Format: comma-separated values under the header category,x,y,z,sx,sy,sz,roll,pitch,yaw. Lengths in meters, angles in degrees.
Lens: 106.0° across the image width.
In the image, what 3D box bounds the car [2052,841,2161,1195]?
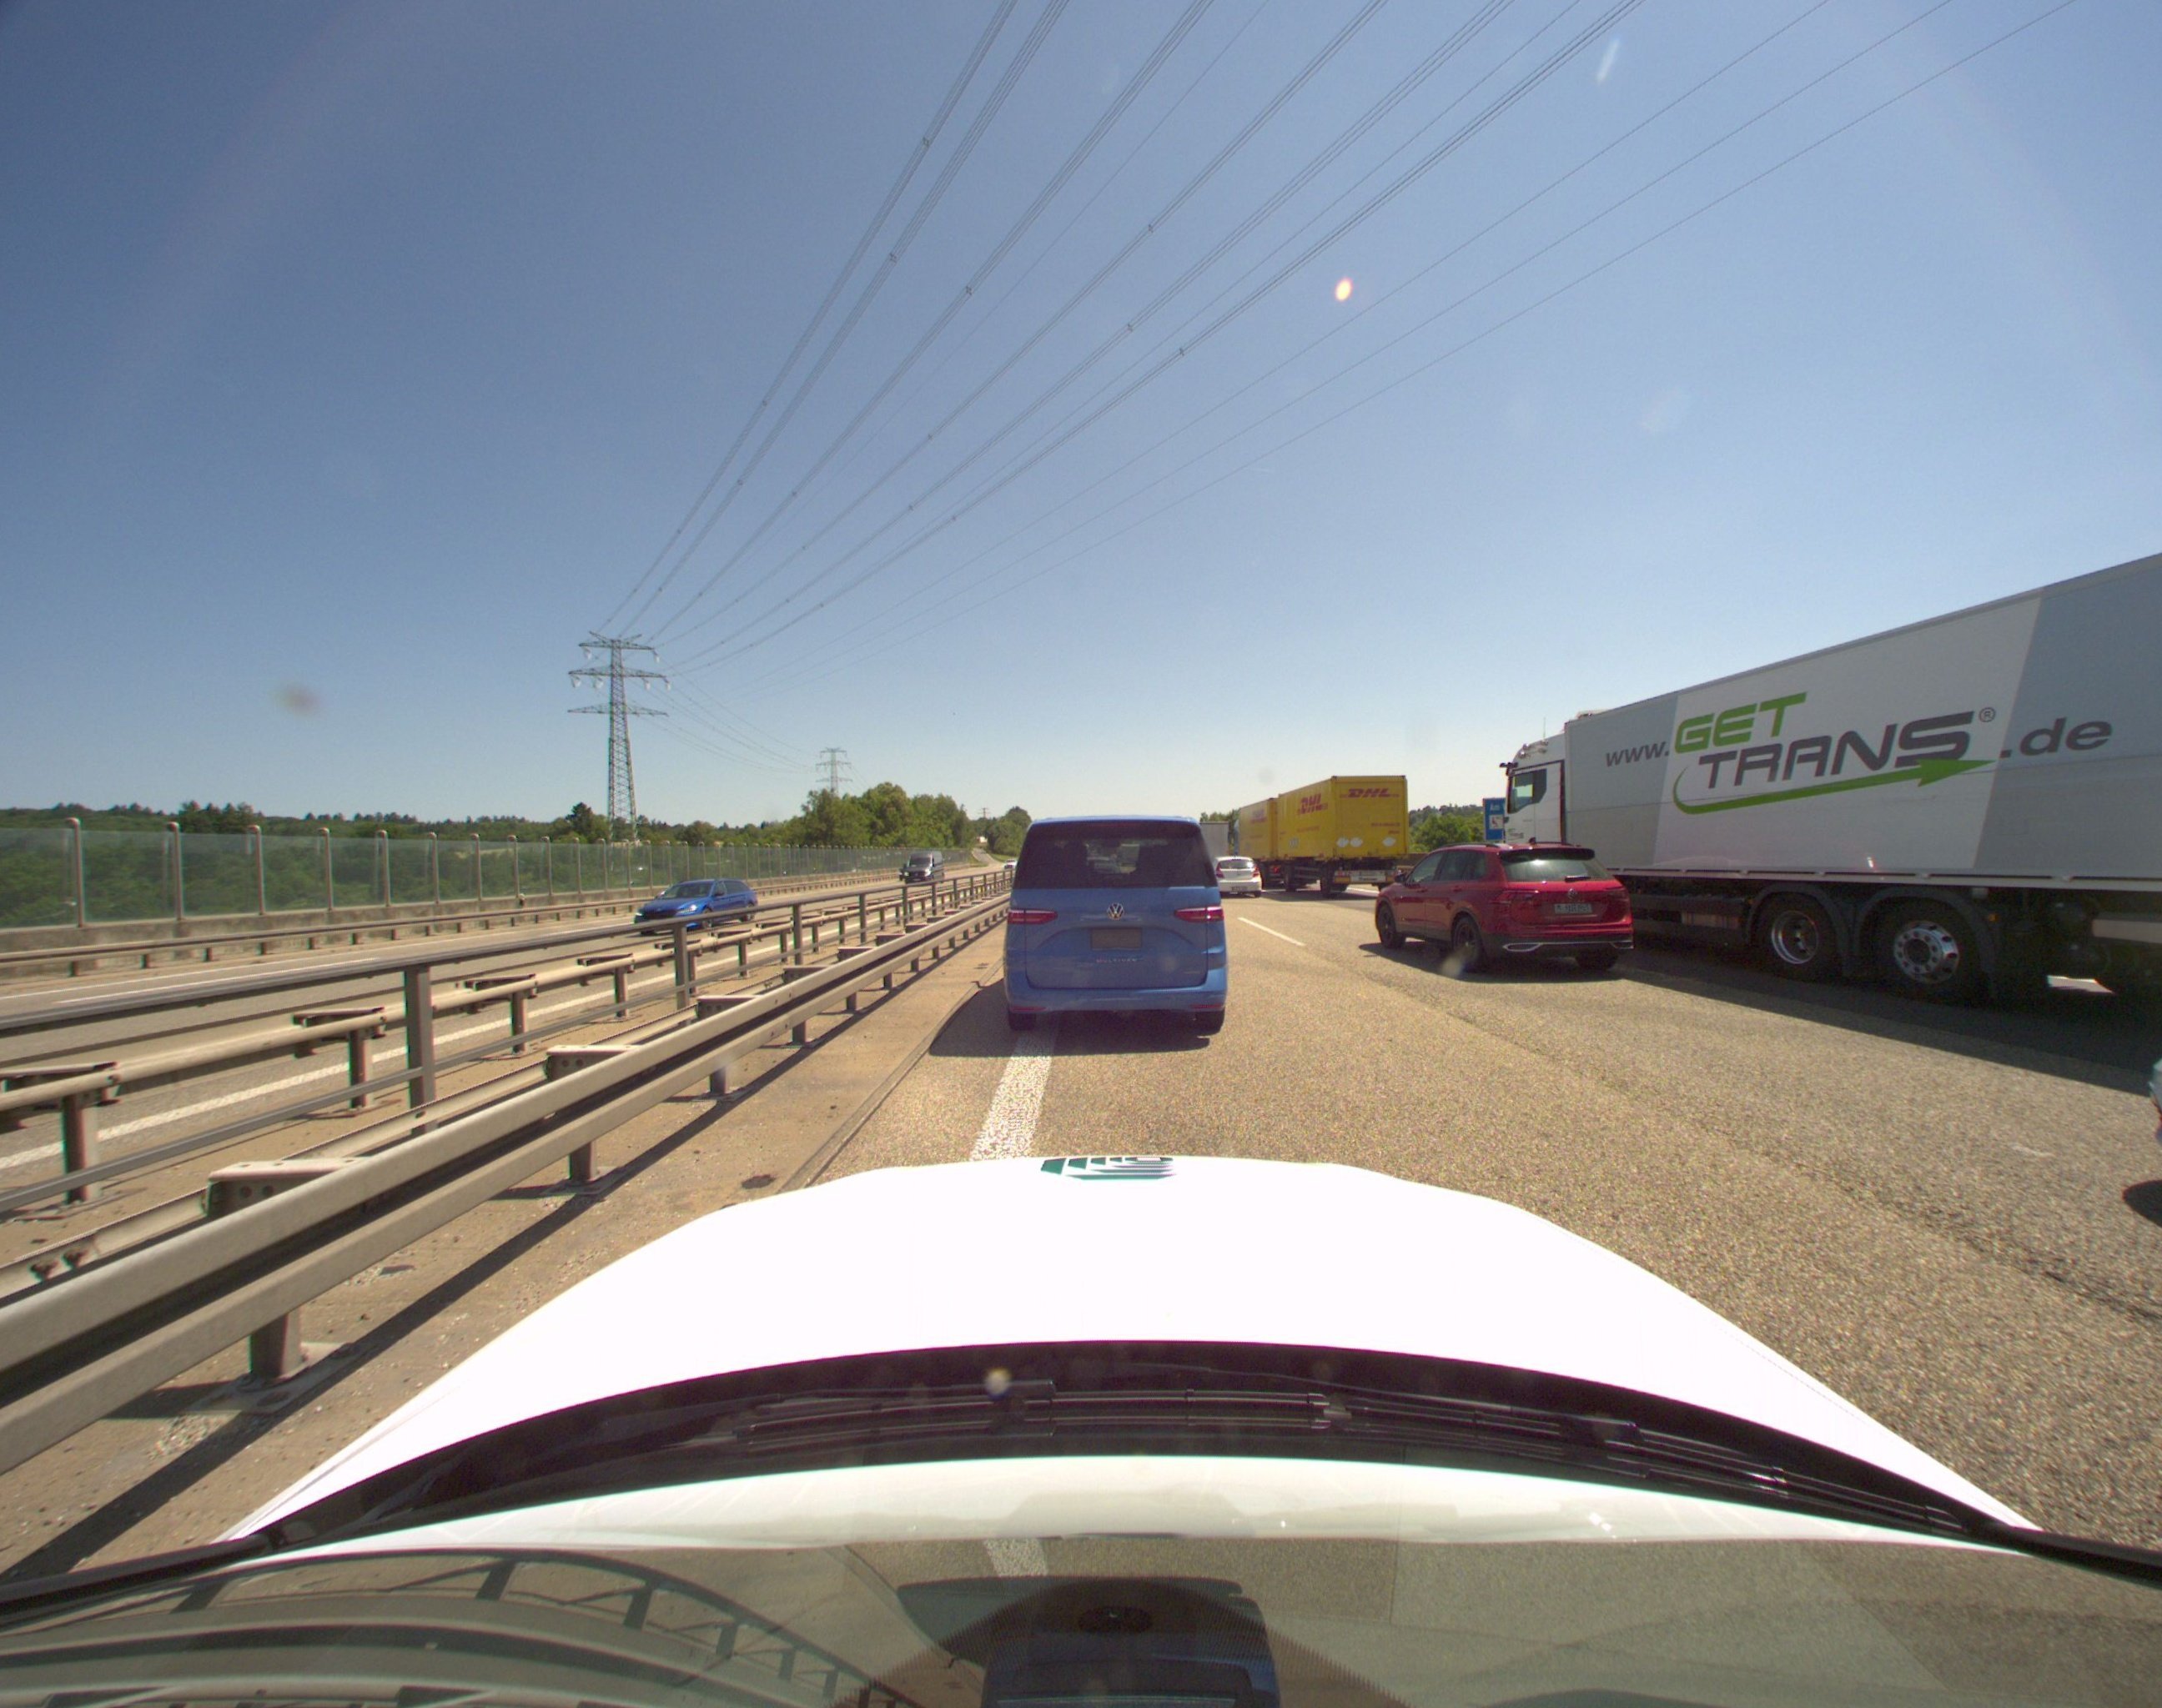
category,x,y,z,sx,sy,sz,roll,pitch,yaw
car,5.250,0.671,1.497,1.702,1.451,4.429,0,0,1

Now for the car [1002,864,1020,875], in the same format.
category,x,y,z,sx,sy,sz,roll,pitch,yaw
car,-10.467,2.309,122.045,1.986,1.544,4.387,-3,-1,2

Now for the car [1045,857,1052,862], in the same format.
category,x,y,z,sx,sy,sz,roll,pitch,yaw
car,-9.933,1.655,248.897,1.681,1.303,4.017,-4,-1,4

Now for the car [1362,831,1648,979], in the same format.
category,x,y,z,sx,sy,sz,roll,pitch,yaw
car,5.611,0.611,11.491,1.704,1.679,4.282,0,-1,-2

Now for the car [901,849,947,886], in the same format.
category,x,y,z,sx,sy,sz,roll,pitch,yaw
car,-11.864,0.999,61.958,1.987,2.582,6.649,-4,-1,0

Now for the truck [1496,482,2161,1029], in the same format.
category,x,y,z,sx,sy,sz,roll,pitch,yaw
truck,9.274,-0.662,10.236,2.842,3.934,10.610,0,-1,1

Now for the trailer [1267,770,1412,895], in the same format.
category,x,y,z,sx,sy,sz,roll,pitch,yaw
trailer,9.454,-0.655,31.060,2.674,4.088,8.978,0,-1,0

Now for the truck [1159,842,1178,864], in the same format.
category,x,y,z,sx,sy,sz,roll,pitch,yaw
truck,10.112,-0.100,94.321,1.791,2.449,4.505,0,-1,1

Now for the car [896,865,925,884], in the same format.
category,x,y,z,sx,sy,sz,roll,pitch,yaw
car,-18.083,2.141,86.511,1.951,1.905,4.949,-3,-1,0

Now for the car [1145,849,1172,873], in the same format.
category,x,y,z,sx,sy,sz,roll,pitch,yaw
car,6.387,0.560,67.861,1.955,1.936,3.933,0,-1,1

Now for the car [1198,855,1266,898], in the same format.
category,x,y,z,sx,sy,sz,roll,pitch,yaw
car,5.521,0.799,30.255,1.809,1.470,3.931,0,-1,0

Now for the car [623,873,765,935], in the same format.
category,x,y,z,sx,sy,sz,roll,pitch,yaw
car,-11.145,1.377,23.859,1.766,1.491,4.606,-2,0,2

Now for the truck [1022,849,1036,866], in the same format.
category,x,y,z,sx,sy,sz,roll,pitch,yaw
truck,-13.240,0.850,206.218,2.660,4.185,6.292,-2,-1,3

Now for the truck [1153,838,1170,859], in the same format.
category,x,y,z,sx,sy,sz,roll,pitch,yaw
truck,10.188,-0.685,103.159,1.735,2.549,4.211,0,-1,1

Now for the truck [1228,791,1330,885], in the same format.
category,x,y,z,sx,sy,sz,roll,pitch,yaw
truck,9.546,-0.634,40.481,2.690,4.088,9.938,0,-1,0

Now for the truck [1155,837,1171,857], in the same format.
category,x,y,z,sx,sy,sz,roll,pitch,yaw
truck,10.924,-0.916,108.522,1.790,2.596,4.306,0,-1,1

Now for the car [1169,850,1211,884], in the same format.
category,x,y,z,sx,sy,sz,roll,pitch,yaw
car,5.739,0.689,43.195,1.808,1.679,3.933,0,-1,2

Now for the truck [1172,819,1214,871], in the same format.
category,x,y,z,sx,sy,sz,roll,pitch,yaw
truck,10.336,-0.761,76.080,3.015,4.611,7.923,0,-1,2

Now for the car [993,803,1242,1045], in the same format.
category,x,y,z,sx,sy,sz,roll,pitch,yaw
car,0.328,0.566,8.335,1.924,1.874,4.001,0,-1,1

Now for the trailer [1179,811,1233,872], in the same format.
category,x,y,z,sx,sy,sz,roll,pitch,yaw
trailer,10.058,-0.864,66.658,3.015,4.611,10.928,0,-1,2
